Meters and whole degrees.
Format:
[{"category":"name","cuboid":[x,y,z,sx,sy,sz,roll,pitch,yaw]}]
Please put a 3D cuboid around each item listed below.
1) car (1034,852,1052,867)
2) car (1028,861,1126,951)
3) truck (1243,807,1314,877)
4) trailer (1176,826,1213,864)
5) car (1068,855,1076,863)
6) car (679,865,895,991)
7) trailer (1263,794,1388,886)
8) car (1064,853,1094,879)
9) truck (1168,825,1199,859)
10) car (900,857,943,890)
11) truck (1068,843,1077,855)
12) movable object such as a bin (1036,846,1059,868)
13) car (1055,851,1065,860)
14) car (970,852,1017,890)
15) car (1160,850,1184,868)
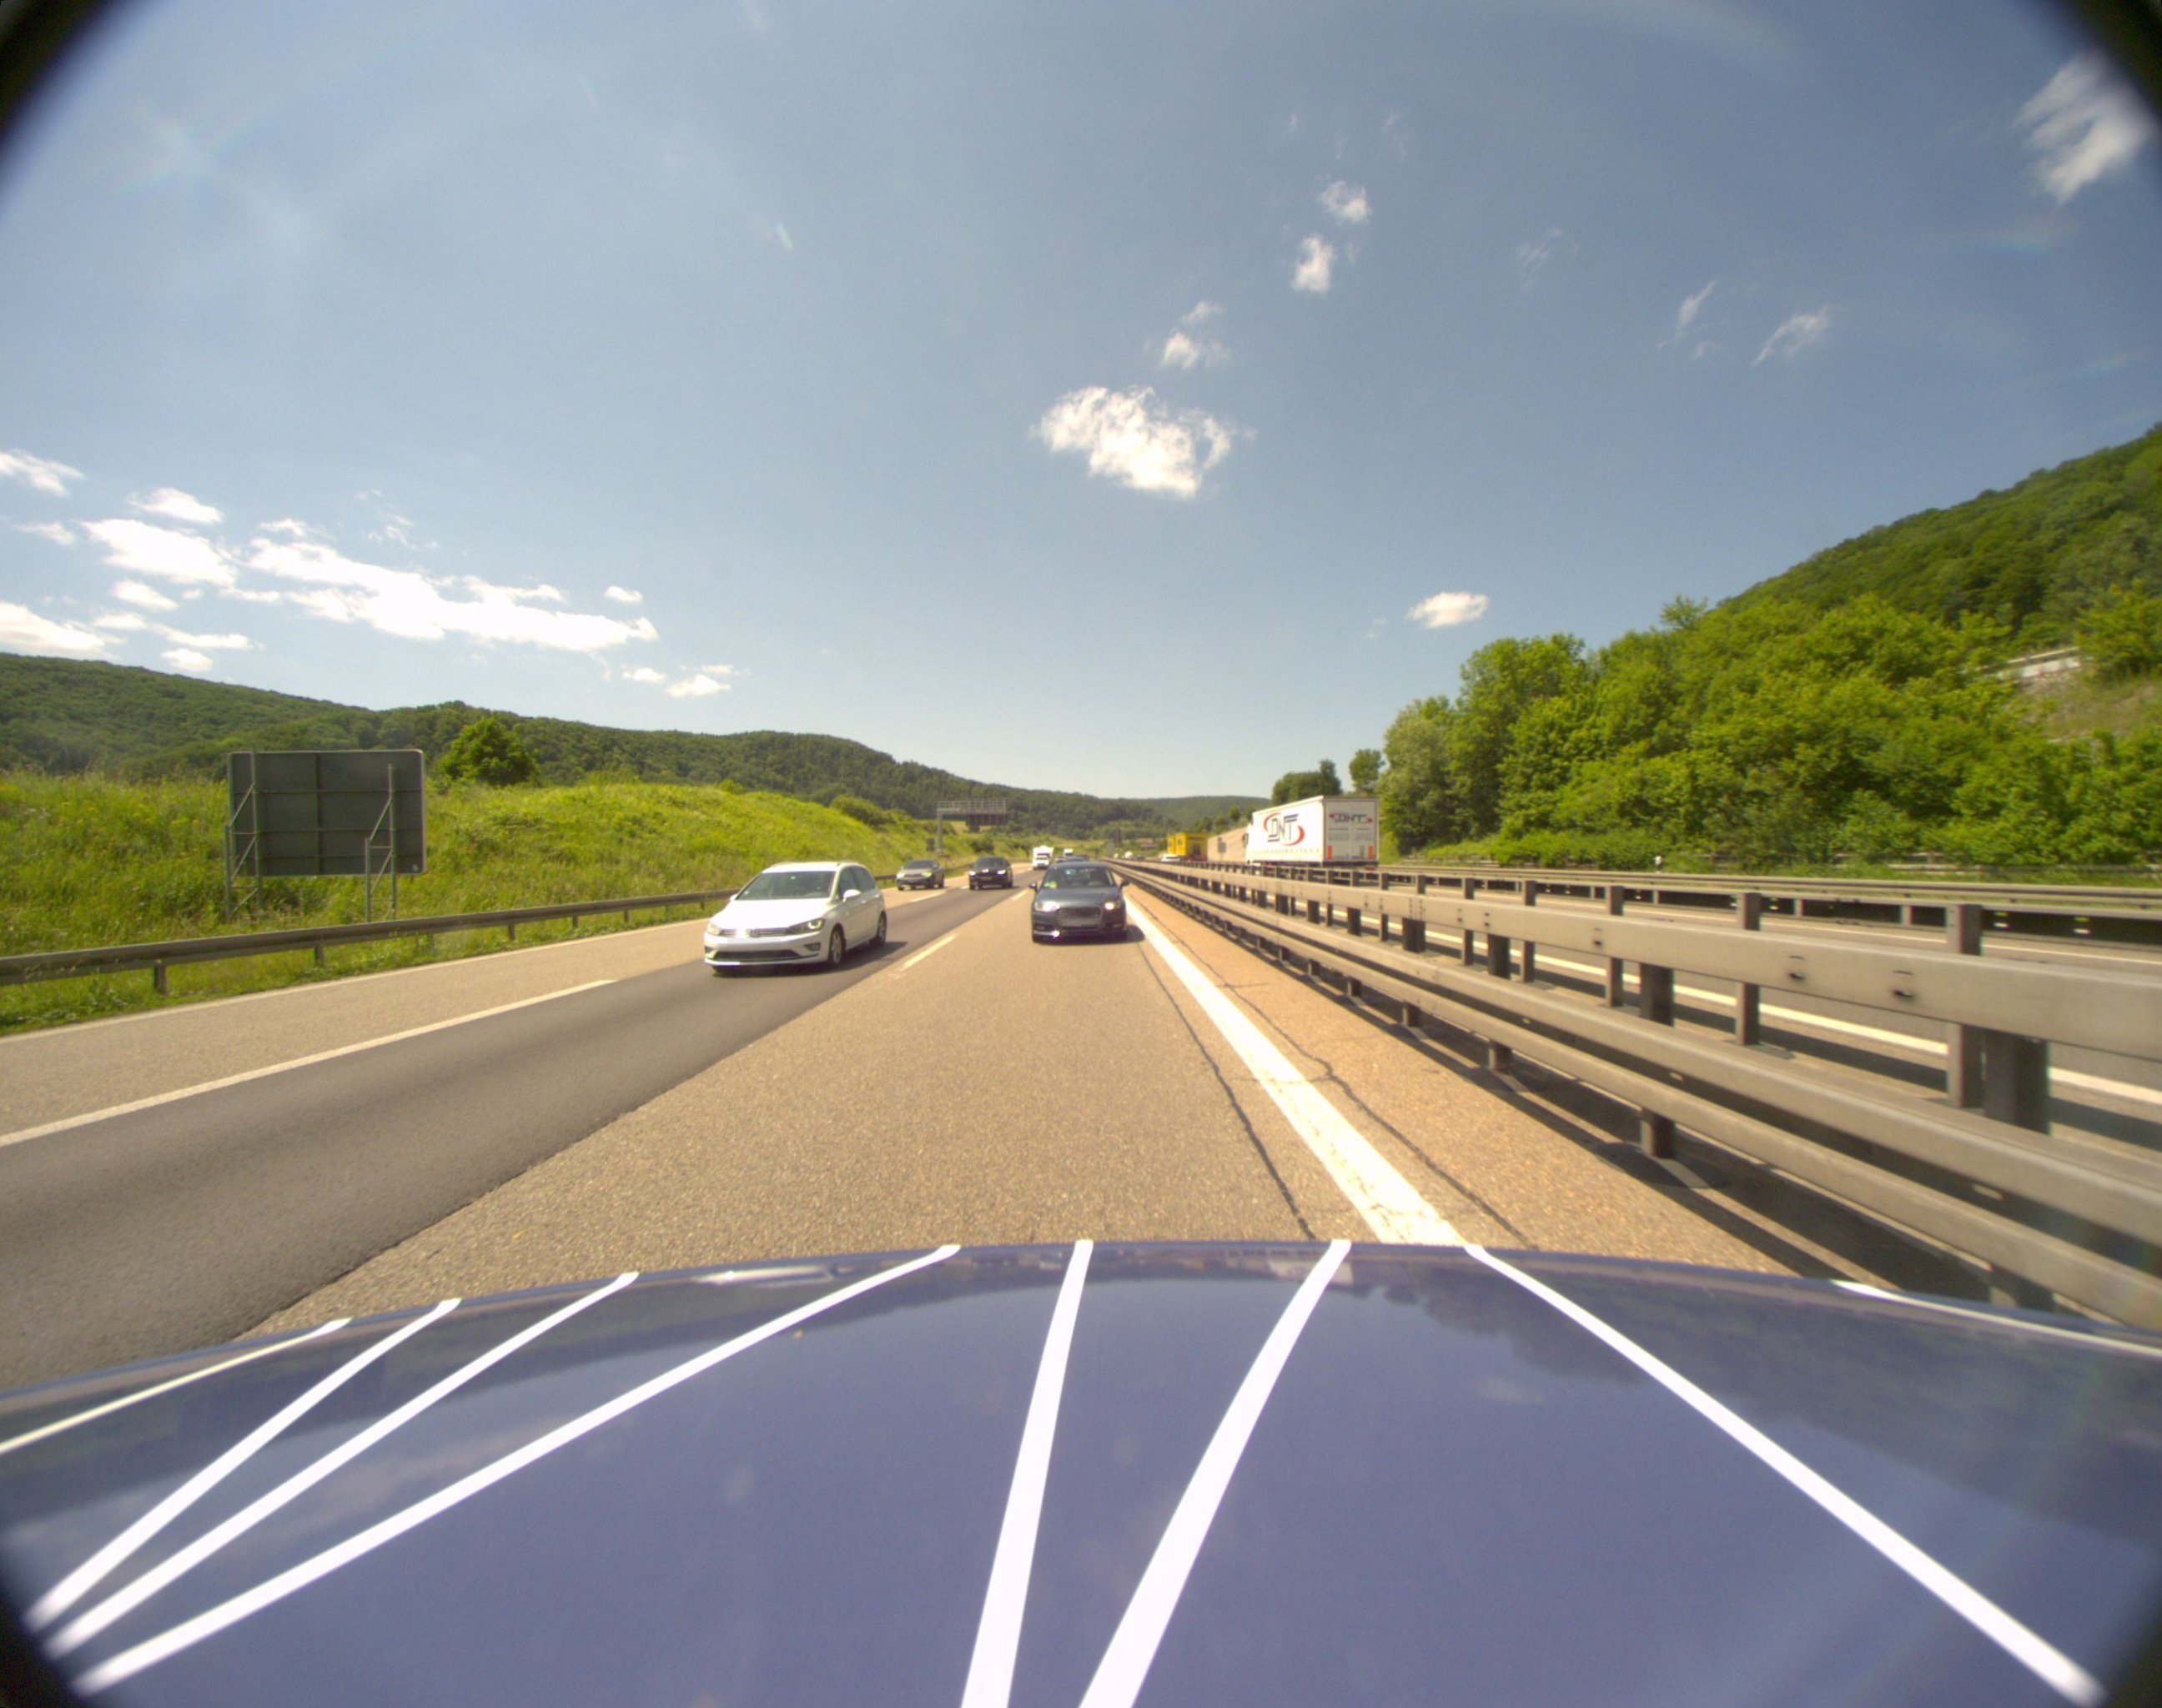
[{"category":"car","cuboid":[-4.334,0.605,87.621,1.821,1.574,4.000,-1,0,1]},{"category":"car","cuboid":[-0.081,0.897,14.739,1.591,1.402,3.999,-2,0,0]},{"category":"truck","cuboid":[12.228,-0.698,47.520,2.916,4.078,5.847,0,1,1]},{"category":"trailer","cuboid":[13.154,-1.056,89.166,2.834,4.123,10.404,-2,0,1]},{"category":"car","cuboid":[-2.287,1.190,192.975,1.998,2.002,3.999,-2,1,0]},{"category":"car","cuboid":[-4.378,1.003,12.066,1.777,1.532,4.054,-2,0,0]},{"category":"trailer","cuboid":[12.198,-0.658,39.404,2.863,4.052,11.262,0,0,0]},{"category":"car","cuboid":[-0.065,0.742,49.675,1.835,1.586,4.000,-1,0,2]},{"category":"truck","cuboid":[13.279,-1.484,99.153,2.834,4.123,9.614,-2,0,1]},{"category":"car","cuboid":[-8.569,1.009,41.119,1.684,1.585,4.246,-2,0,-4]},{"category":"truck","cuboid":[-2.466,-1.538,231.041,2.336,3.623,7.005,-2,0,1]},{"category":"movable object such as a bin","cuboid":[-4.131,0.345,94.831,2.481,2.616,6.708,-2,0,1]},{"category":"car","cuboid":[-3.850,0.291,141.684,1.711,1.542,4.000,-1,0,1]},{"category":"car","cuboid":[-4.324,0.810,38.064,1.894,1.761,4.170,-1,0,-1]},{"category":"car","cuboid":[8.473,0.442,70.734,1.751,1.510,4.000,-2,0,1]}]
